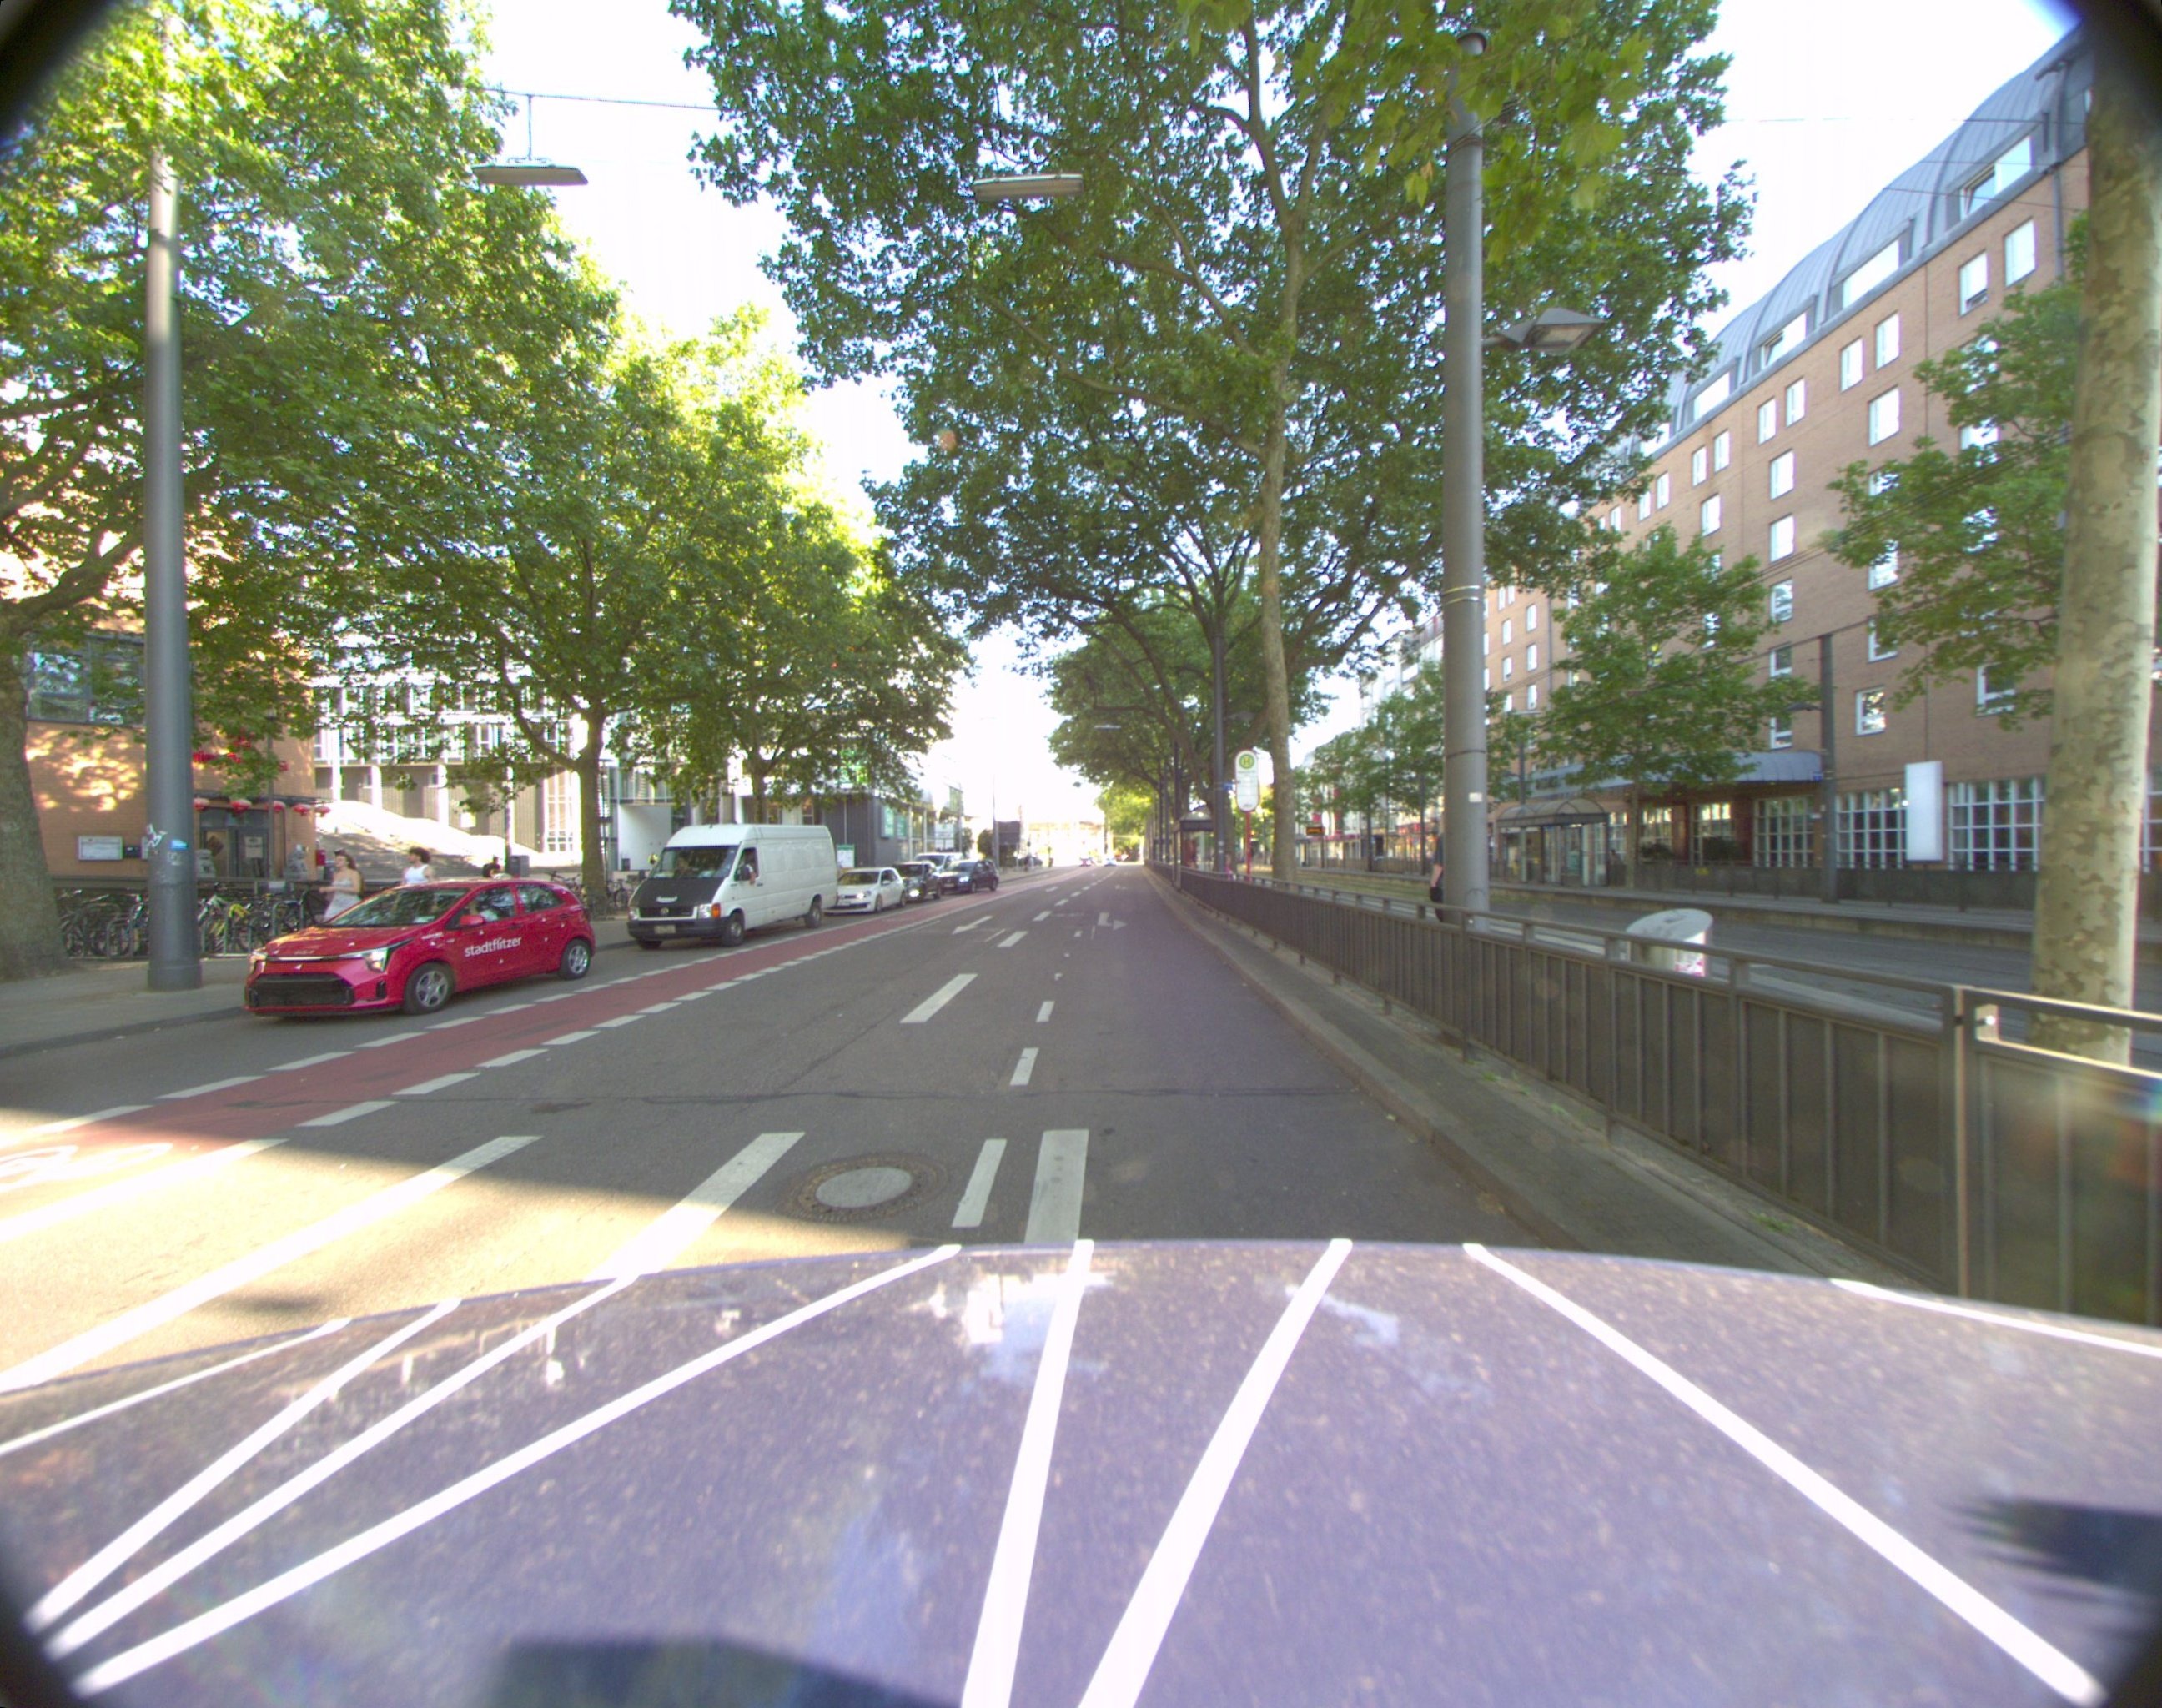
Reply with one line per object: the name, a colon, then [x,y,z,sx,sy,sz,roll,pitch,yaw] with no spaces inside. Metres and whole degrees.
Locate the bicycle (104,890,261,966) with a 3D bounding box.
bicycle: [-15.426,1.236,13.121,0.485,1.118,1.850,0,0,1]

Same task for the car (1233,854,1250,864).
car: [25.492,0.809,120.916,1.998,1.510,4.000,1,0,1]

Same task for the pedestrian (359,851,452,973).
pedestrian: [-10.647,0.897,12.003,0.643,1.834,0.814,3,0,-4]

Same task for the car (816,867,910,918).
car: [-7.002,1.187,24.854,1.682,1.420,4.001,-1,0,3]

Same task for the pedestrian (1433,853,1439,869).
pedestrian: [32.610,0.629,69.827,0.438,1.511,0.659,0,1,23]

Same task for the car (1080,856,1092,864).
car: [0.931,0.955,127.581,1.801,1.369,4.001,0,0,3]

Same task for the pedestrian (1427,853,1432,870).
pedestrian: [32.049,0.678,69.916,0.438,1.497,0.659,0,1,23]

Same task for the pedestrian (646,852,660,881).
pedestrian: [-32.011,0.919,56.837,0.836,2.144,0.858,-1,1,-23]

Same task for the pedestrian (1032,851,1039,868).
pedestrian: [-5.166,0.612,85.729,0.676,1.853,0.741,-2,1,1]

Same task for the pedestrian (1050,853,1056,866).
pedestrian: [-3.988,0.795,107.665,0.676,1.853,0.741,-2,1,1]

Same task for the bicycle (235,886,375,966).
bicycle: [-13.318,1.193,13.116,0.482,1.187,1.850,0,0,1]

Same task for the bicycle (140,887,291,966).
bicycle: [-14.843,1.199,13.113,0.447,1.187,1.850,0,0,1]

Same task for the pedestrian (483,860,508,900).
pedestrian: [-22.850,1.001,29.646,0.719,1.549,0.639,-1,1,-35]

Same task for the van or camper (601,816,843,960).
van or camper: [-7.550,0.621,17.093,1.998,2.563,6.575,-2,0,3]

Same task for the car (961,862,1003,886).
car: [-5.962,1.176,46.323,1.801,1.369,4.001,0,0,3]

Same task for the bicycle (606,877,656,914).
bicycle: [-14.659,1.331,24.807,0.522,1.088,1.797,0,0,1]

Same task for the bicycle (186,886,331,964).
bicycle: [-14.326,1.200,13.313,0.484,1.187,1.850,0,0,1]

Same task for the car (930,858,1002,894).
car: [-5.516,1.015,37.154,1.964,1.610,4.335,-1,0,14]

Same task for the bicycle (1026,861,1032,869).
bicycle: [-5.471,1.160,80.059,0.580,0.879,1.671,-1,0,1]

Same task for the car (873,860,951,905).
car: [-6.714,1.083,30.583,1.818,1.610,4.229,-1,0,5]

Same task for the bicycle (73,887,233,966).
bicycle: [-15.924,1.203,13.124,0.458,1.187,1.850,0,0,1]

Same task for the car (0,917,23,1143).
car: [-7.992,1.173,2.961,1.743,1.476,4.251,-1,0,0]

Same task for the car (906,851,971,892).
car: [-7.477,0.862,40.482,1.965,1.983,4.960,-1,0,7]

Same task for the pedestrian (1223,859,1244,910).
pedestrian: [3.932,0.778,19.610,0.500,1.308,0.419,0,1,8]

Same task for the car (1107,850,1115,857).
car: [8.156,-0.100,205.332,1.998,2.002,4.001,0,0,4]

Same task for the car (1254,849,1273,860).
car: [29.004,0.083,120.819,1.998,1.696,4.000,-1,0,1]

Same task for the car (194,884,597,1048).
car: [-7.945,1.178,9.348,1.606,1.449,3.651,-1,0,0]

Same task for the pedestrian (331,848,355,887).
pedestrian: [-38.342,0.703,39.483,0.878,2.025,0.584,-1,1,-43]

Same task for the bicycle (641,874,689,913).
bicycle: [-13.572,1.268,24.829,0.522,1.187,1.850,0,0,1]

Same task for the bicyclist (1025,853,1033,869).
bicyclist: [-5.479,0.708,80.075,0.673,1.707,0.715,-1,1,1]

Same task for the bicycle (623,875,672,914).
bicycle: [-14.115,1.297,24.808,0.495,1.187,1.850,0,0,1]

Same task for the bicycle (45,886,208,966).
bicycle: [-16.387,1.197,13.126,0.435,1.187,1.850,0,0,1]

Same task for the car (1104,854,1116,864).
car: [4.368,0.794,114.780,1.733,1.432,4.000,-2,0,2]

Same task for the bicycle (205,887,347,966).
bicycle: [-13.821,1.204,13.122,0.448,1.187,1.850,0,0,1]

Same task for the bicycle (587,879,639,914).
bicycle: [-15.220,1.364,24.782,0.516,1.027,1.850,0,0,1]

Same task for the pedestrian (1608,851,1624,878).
pedestrian: [28.748,0.562,40.840,0.519,1.427,0.516,0,1,4]

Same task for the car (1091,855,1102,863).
car: [2.919,0.922,143.320,1.801,1.438,4.001,0,0,3]

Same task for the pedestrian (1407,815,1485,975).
pedestrian: [4.455,0.471,9.297,0.607,1.873,0.622,-2,3,-13]

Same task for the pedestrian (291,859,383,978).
pedestrian: [-11.446,0.966,11.716,0.648,1.766,0.764,-1,0,-6]

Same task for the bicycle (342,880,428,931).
bicycle: [-17.883,1.286,19.580,0.517,1.187,1.790,0,0,1]
